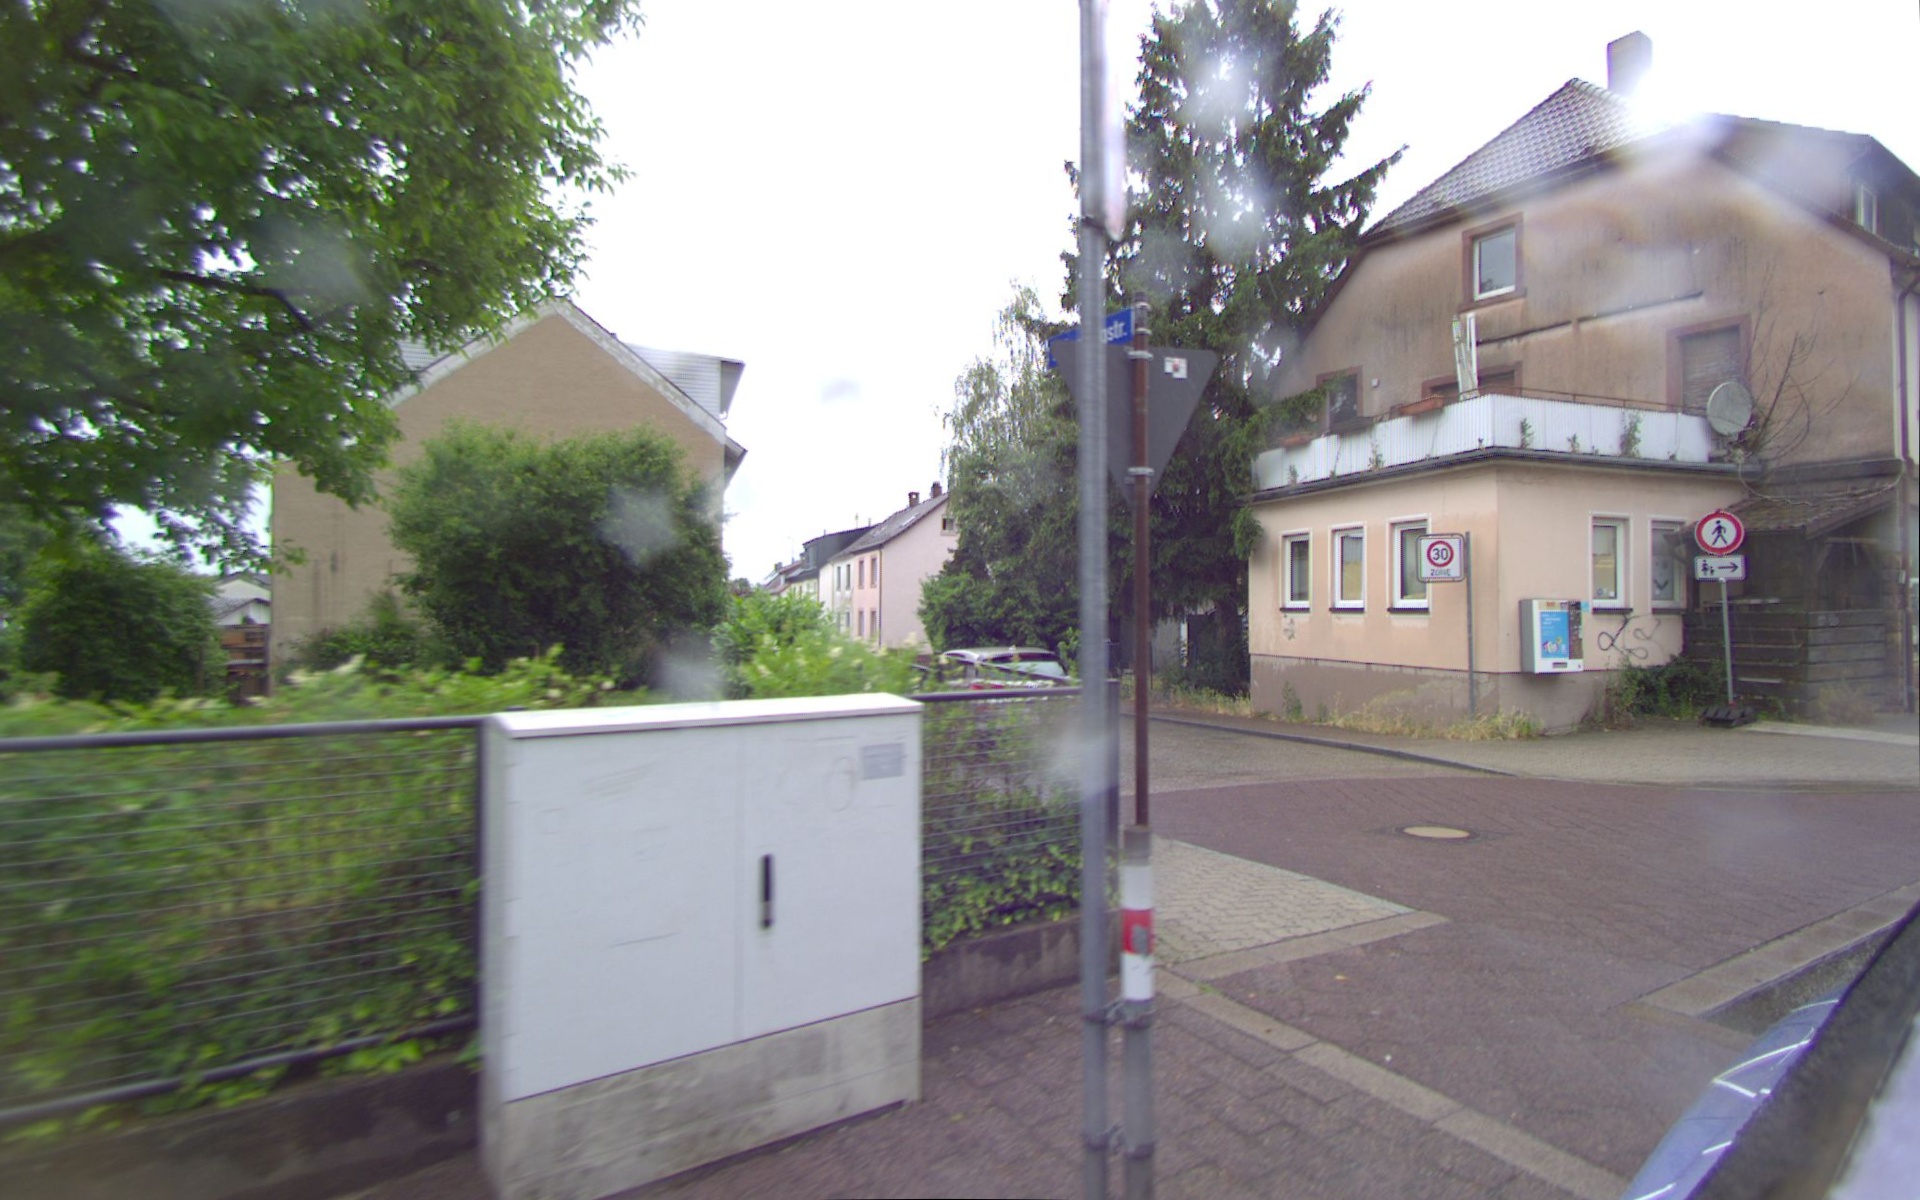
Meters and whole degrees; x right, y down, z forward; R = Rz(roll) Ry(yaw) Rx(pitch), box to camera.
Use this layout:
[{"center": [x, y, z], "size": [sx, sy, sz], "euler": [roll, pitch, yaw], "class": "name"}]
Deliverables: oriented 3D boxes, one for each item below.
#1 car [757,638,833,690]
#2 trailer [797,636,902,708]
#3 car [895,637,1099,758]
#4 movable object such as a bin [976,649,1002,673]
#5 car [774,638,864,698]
[{"center": [-5.688, 2.143, 34.581], "size": [1.958, 1.591, 4.103], "euler": [-1, -2, -18], "class": "car"}, {"center": [-2.926, 1.772, 25.818], "size": [1.961, 1.587, 4.554], "euler": [-1, -2, -15], "class": "trailer"}, {"center": [0.371, 1.299, 14.843], "size": [1.754, 1.490, 4.007], "euler": [0, -2, -17], "class": "car"}, {"center": [0.980, 2.071, 34.378], "size": [0.685, 0.776, 0.744], "euler": [-1, -1, -14], "class": "movable object such as a bin"}, {"center": [-4.260, 1.960, 30.053], "size": [1.958, 1.591, 4.103], "euler": [-1, -2, -18], "class": "car"}]
